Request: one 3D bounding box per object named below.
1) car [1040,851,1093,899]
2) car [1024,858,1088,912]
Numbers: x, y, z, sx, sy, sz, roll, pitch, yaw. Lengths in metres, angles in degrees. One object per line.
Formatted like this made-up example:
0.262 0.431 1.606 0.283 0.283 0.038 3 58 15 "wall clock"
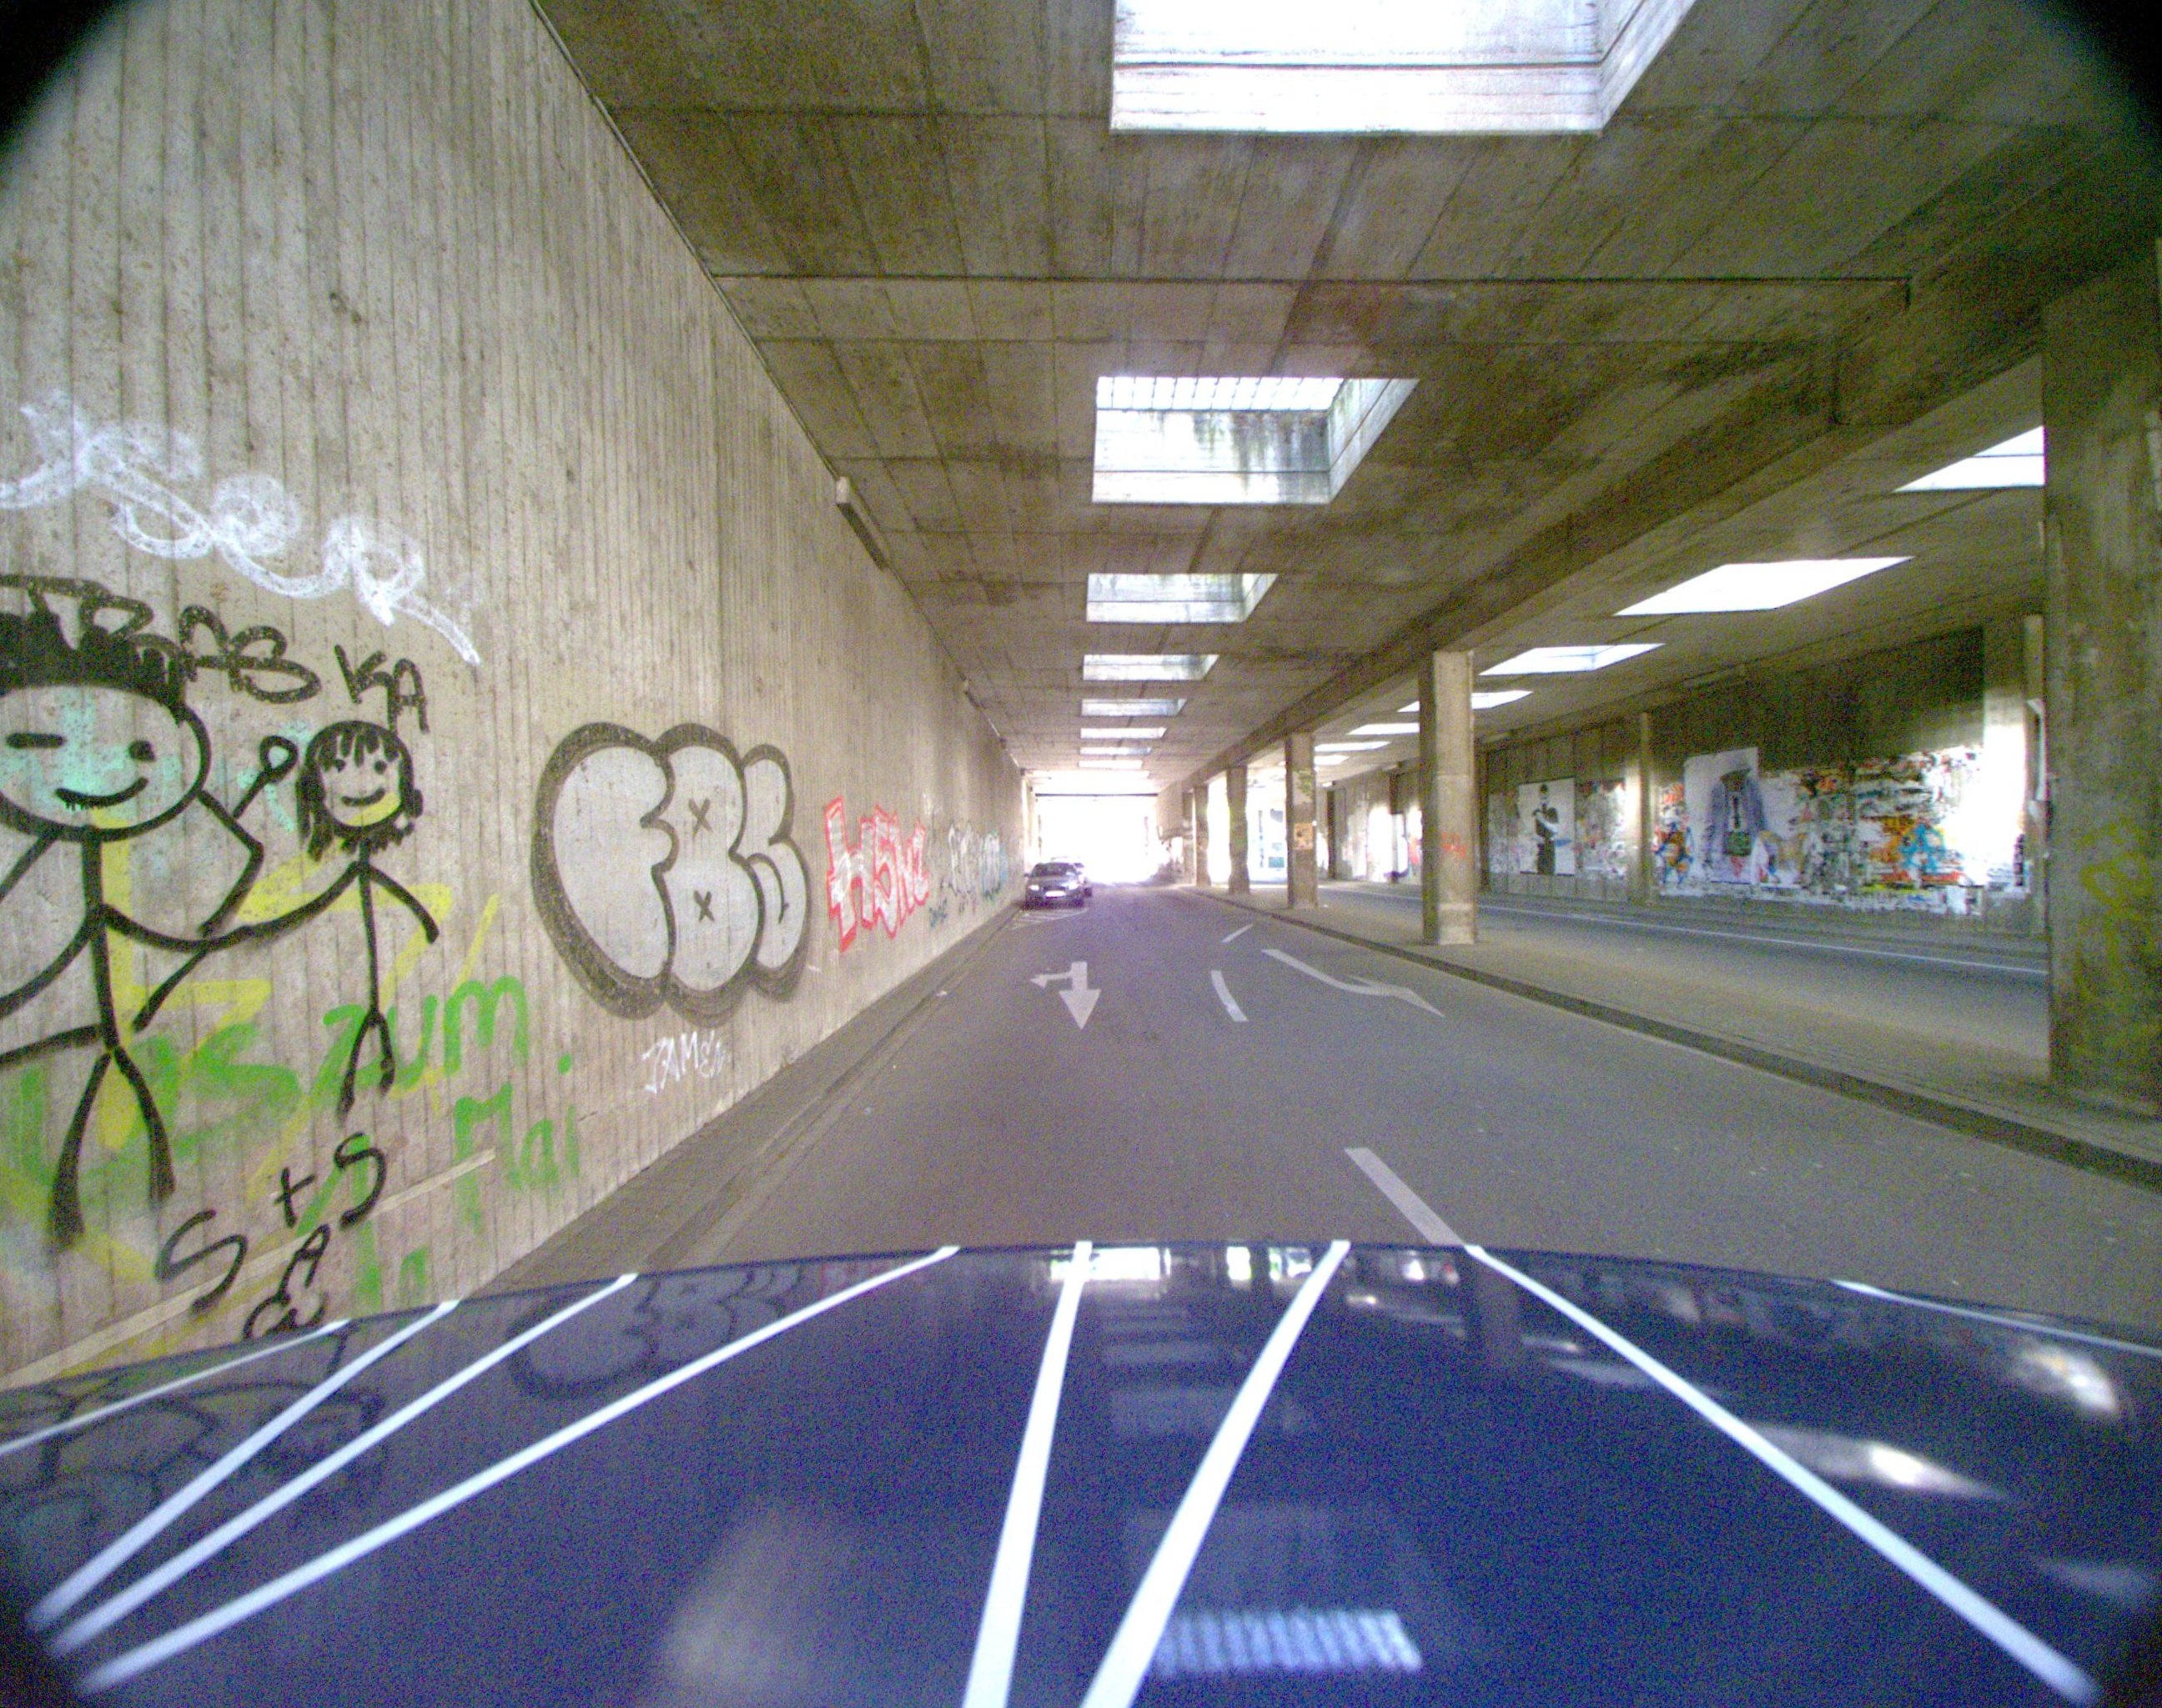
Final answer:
-0.499 0.763 29.710 1.861 1.709 4.000 -2 0 1 "car"
-0.703 0.911 24.053 1.808 1.460 4.000 -2 0 1 "car"
